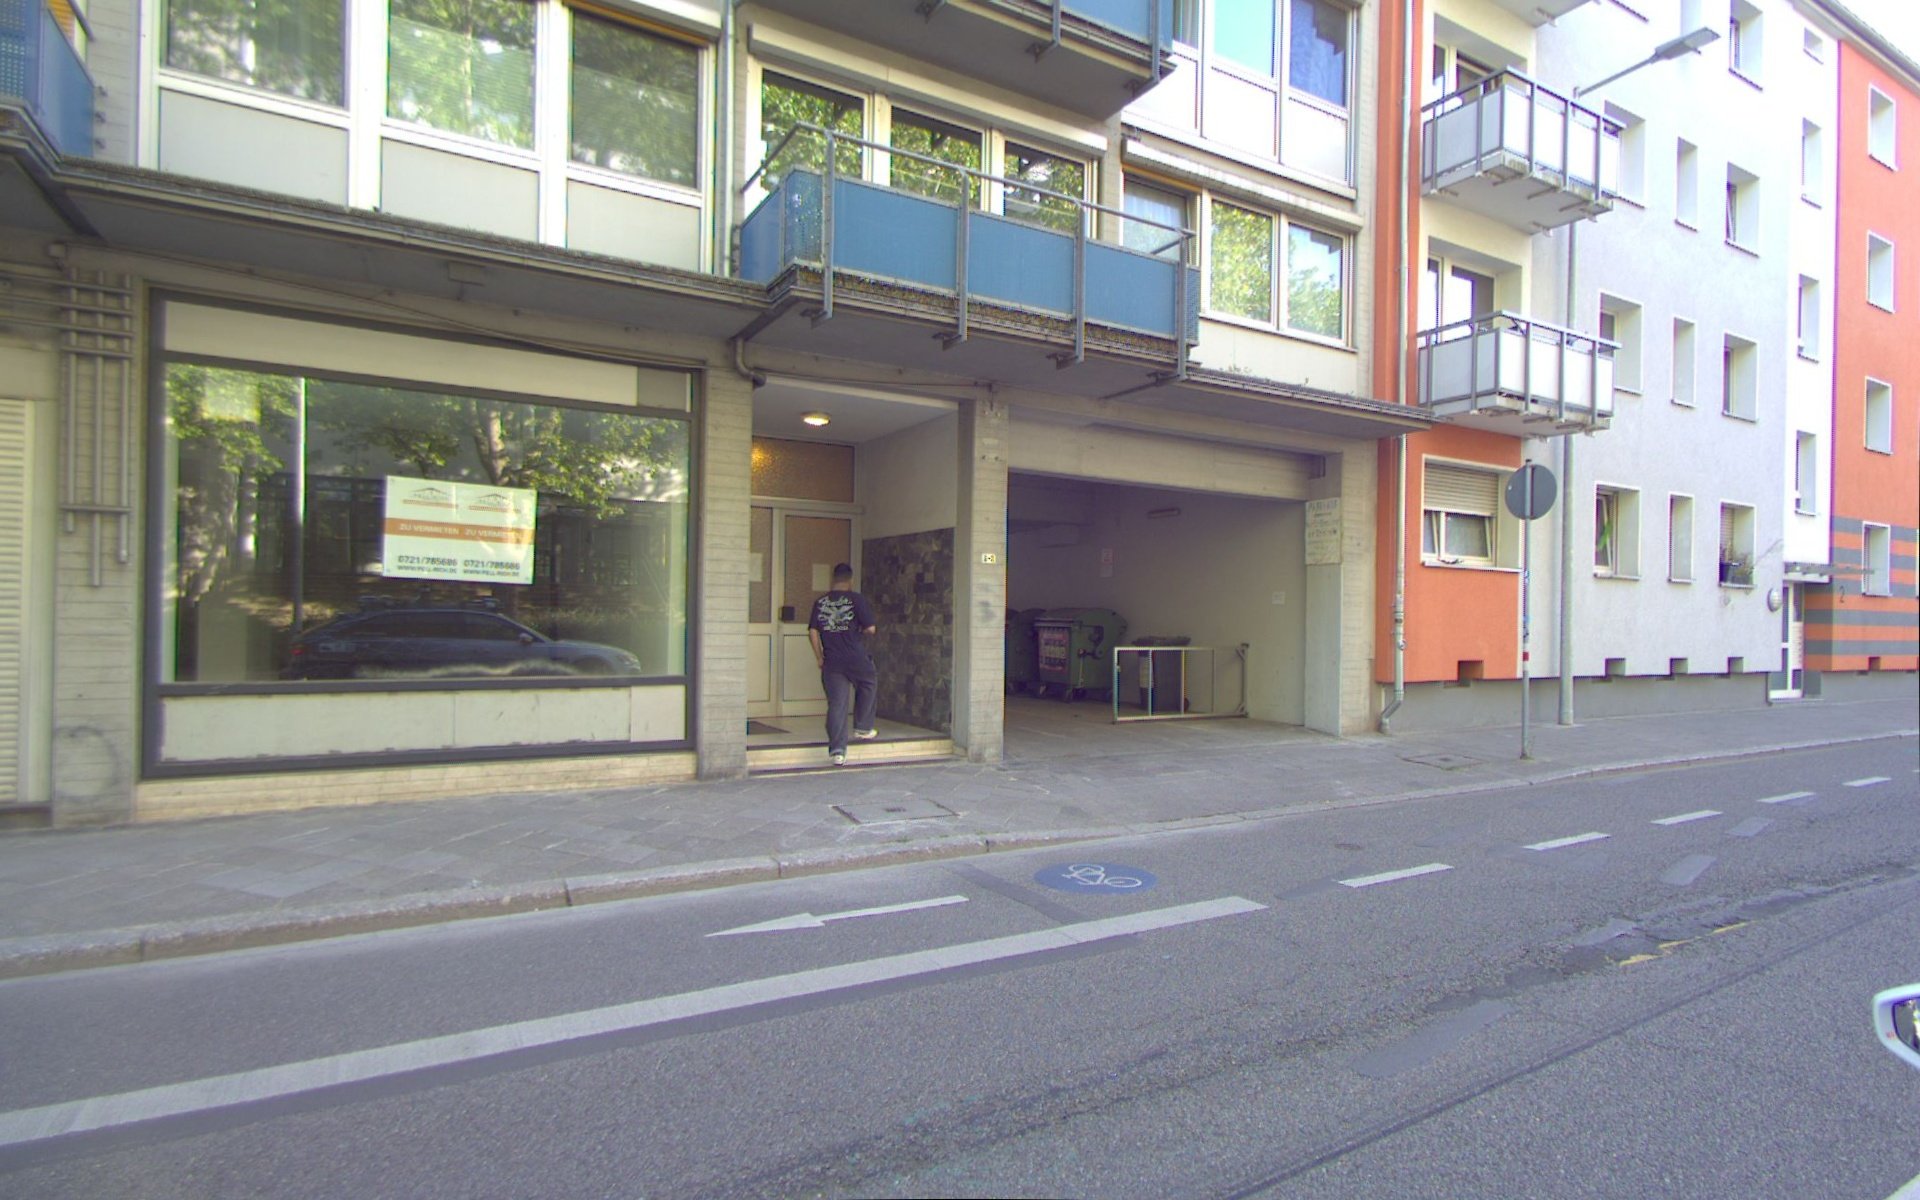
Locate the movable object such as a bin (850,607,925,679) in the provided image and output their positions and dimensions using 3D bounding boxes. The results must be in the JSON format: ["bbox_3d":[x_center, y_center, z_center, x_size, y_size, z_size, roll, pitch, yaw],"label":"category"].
[{"bbox_3d":[-1.498,0.870,20.657,1.014,1.409,1.264,1,0,-37],"label":"movable object such as a bin"}]

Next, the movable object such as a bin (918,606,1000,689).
[{"bbox_3d":[-0.030,0.857,18.669,1.011,1.462,1.318,1,0,-29],"label":"movable object such as a bin"}]

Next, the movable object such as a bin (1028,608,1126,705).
[{"bbox_3d":[1.827,0.856,15.830,1.009,1.438,1.321,1,0,-23],"label":"movable object such as a bin"}]

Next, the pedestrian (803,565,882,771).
[{"bbox_3d":[-1.052,0.589,8.912,0.620,1.764,0.526,1,0,-12],"label":"pedestrian"}]

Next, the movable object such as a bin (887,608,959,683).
[{"bbox_3d":[-0.735,0.877,19.684,1.012,1.409,1.046,1,0,-31],"label":"movable object such as a bin"}]

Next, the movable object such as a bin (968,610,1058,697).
[{"bbox_3d":[0.889,0.881,17.161,1.011,1.409,1.319,1,0,-27],"label":"movable object such as a bin"}]

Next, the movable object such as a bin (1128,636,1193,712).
[{"bbox_3d":[2.885,1.053,14.486,0.704,1.054,0.583,1,0,-30],"label":"movable object such as a bin"}]
